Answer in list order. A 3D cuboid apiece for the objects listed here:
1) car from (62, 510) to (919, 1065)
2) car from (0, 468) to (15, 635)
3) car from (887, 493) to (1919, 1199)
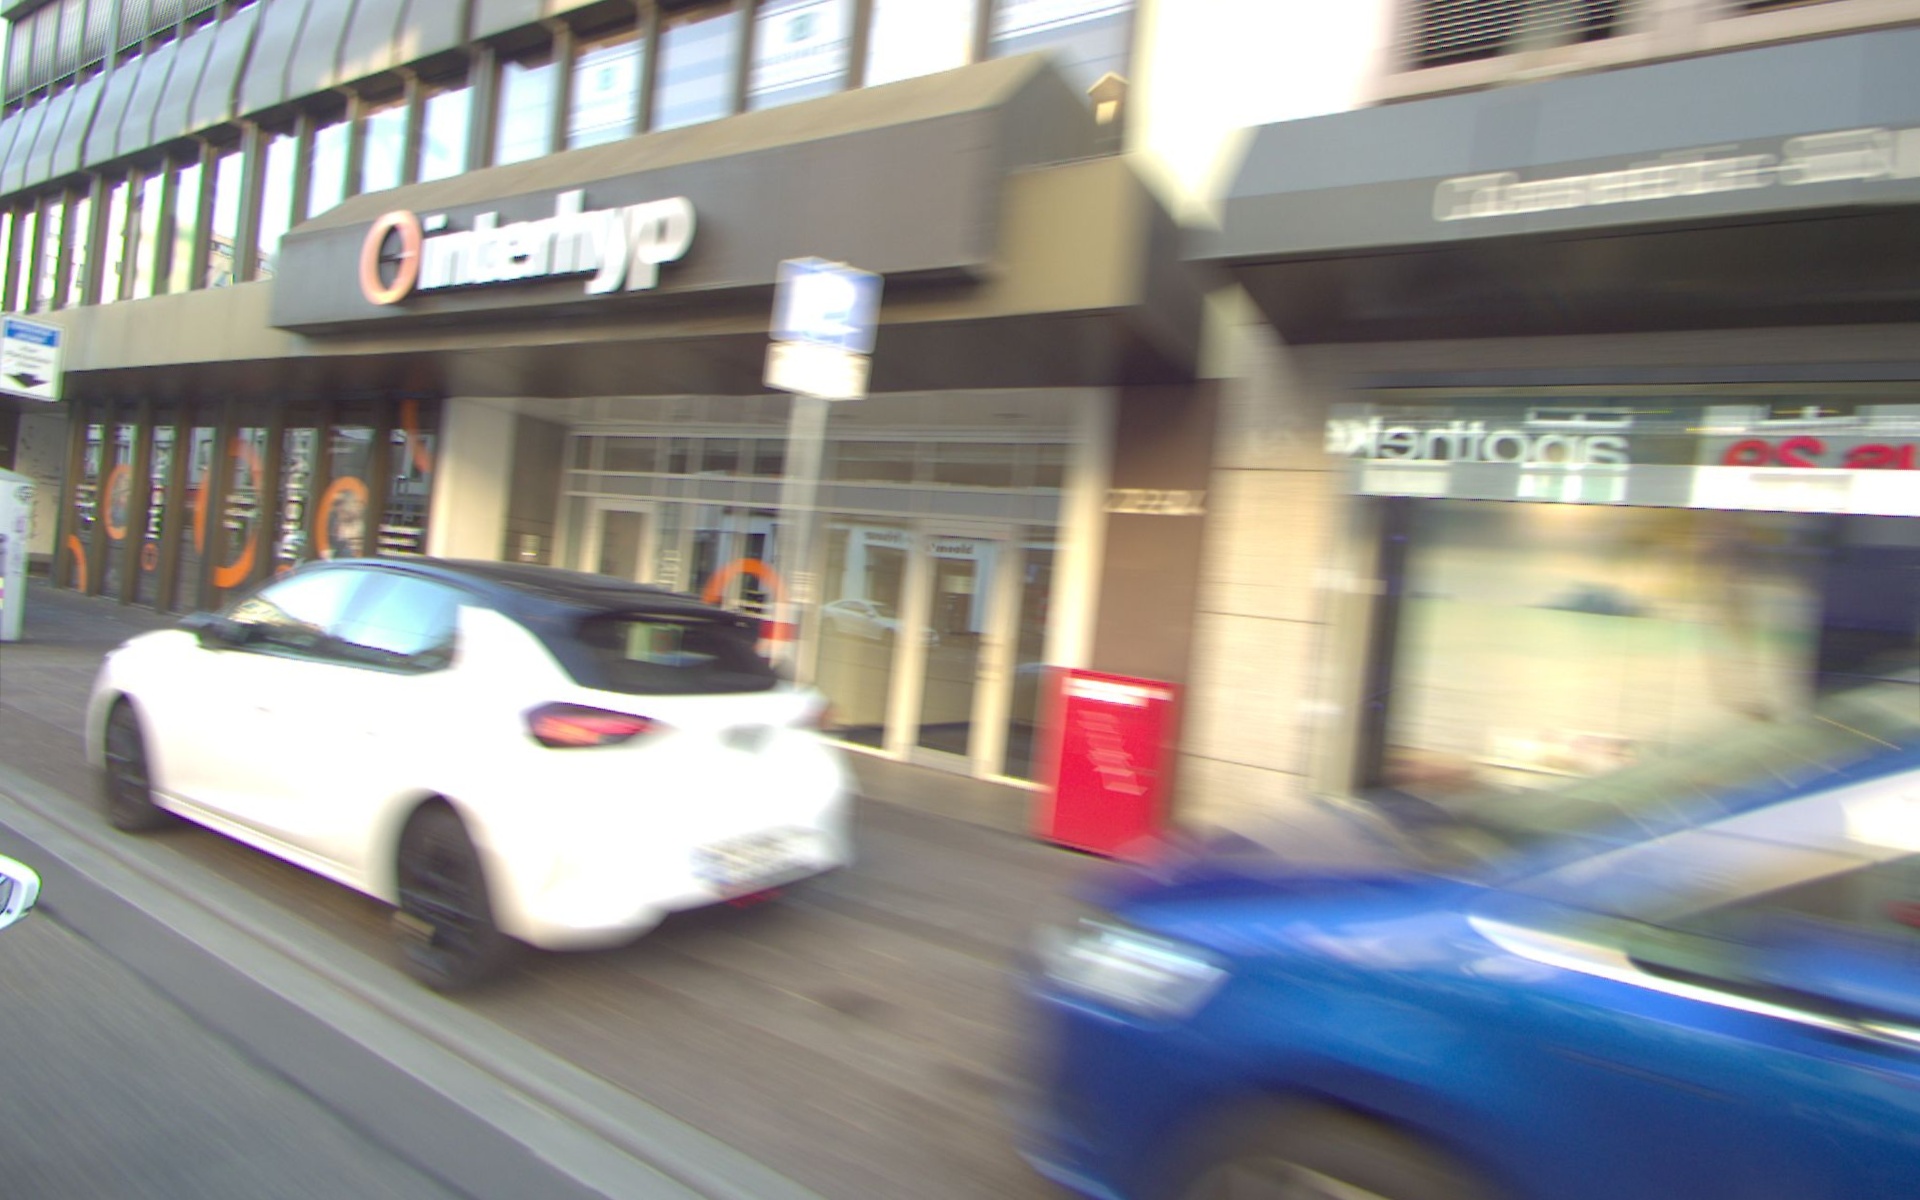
[{"bbox_3d":[-2.332,0.510,4.751,3.822,1.452,1.796,7,2,32],"label":"car"},{"bbox_3d":[-12.430,-0.771,10.916,4.489,1.749,1.995,6,0,32],"label":"car"},{"bbox_3d":[2.318,0.890,1.927,4.500,1.750,1.995,6,1,32],"label":"car"}]
